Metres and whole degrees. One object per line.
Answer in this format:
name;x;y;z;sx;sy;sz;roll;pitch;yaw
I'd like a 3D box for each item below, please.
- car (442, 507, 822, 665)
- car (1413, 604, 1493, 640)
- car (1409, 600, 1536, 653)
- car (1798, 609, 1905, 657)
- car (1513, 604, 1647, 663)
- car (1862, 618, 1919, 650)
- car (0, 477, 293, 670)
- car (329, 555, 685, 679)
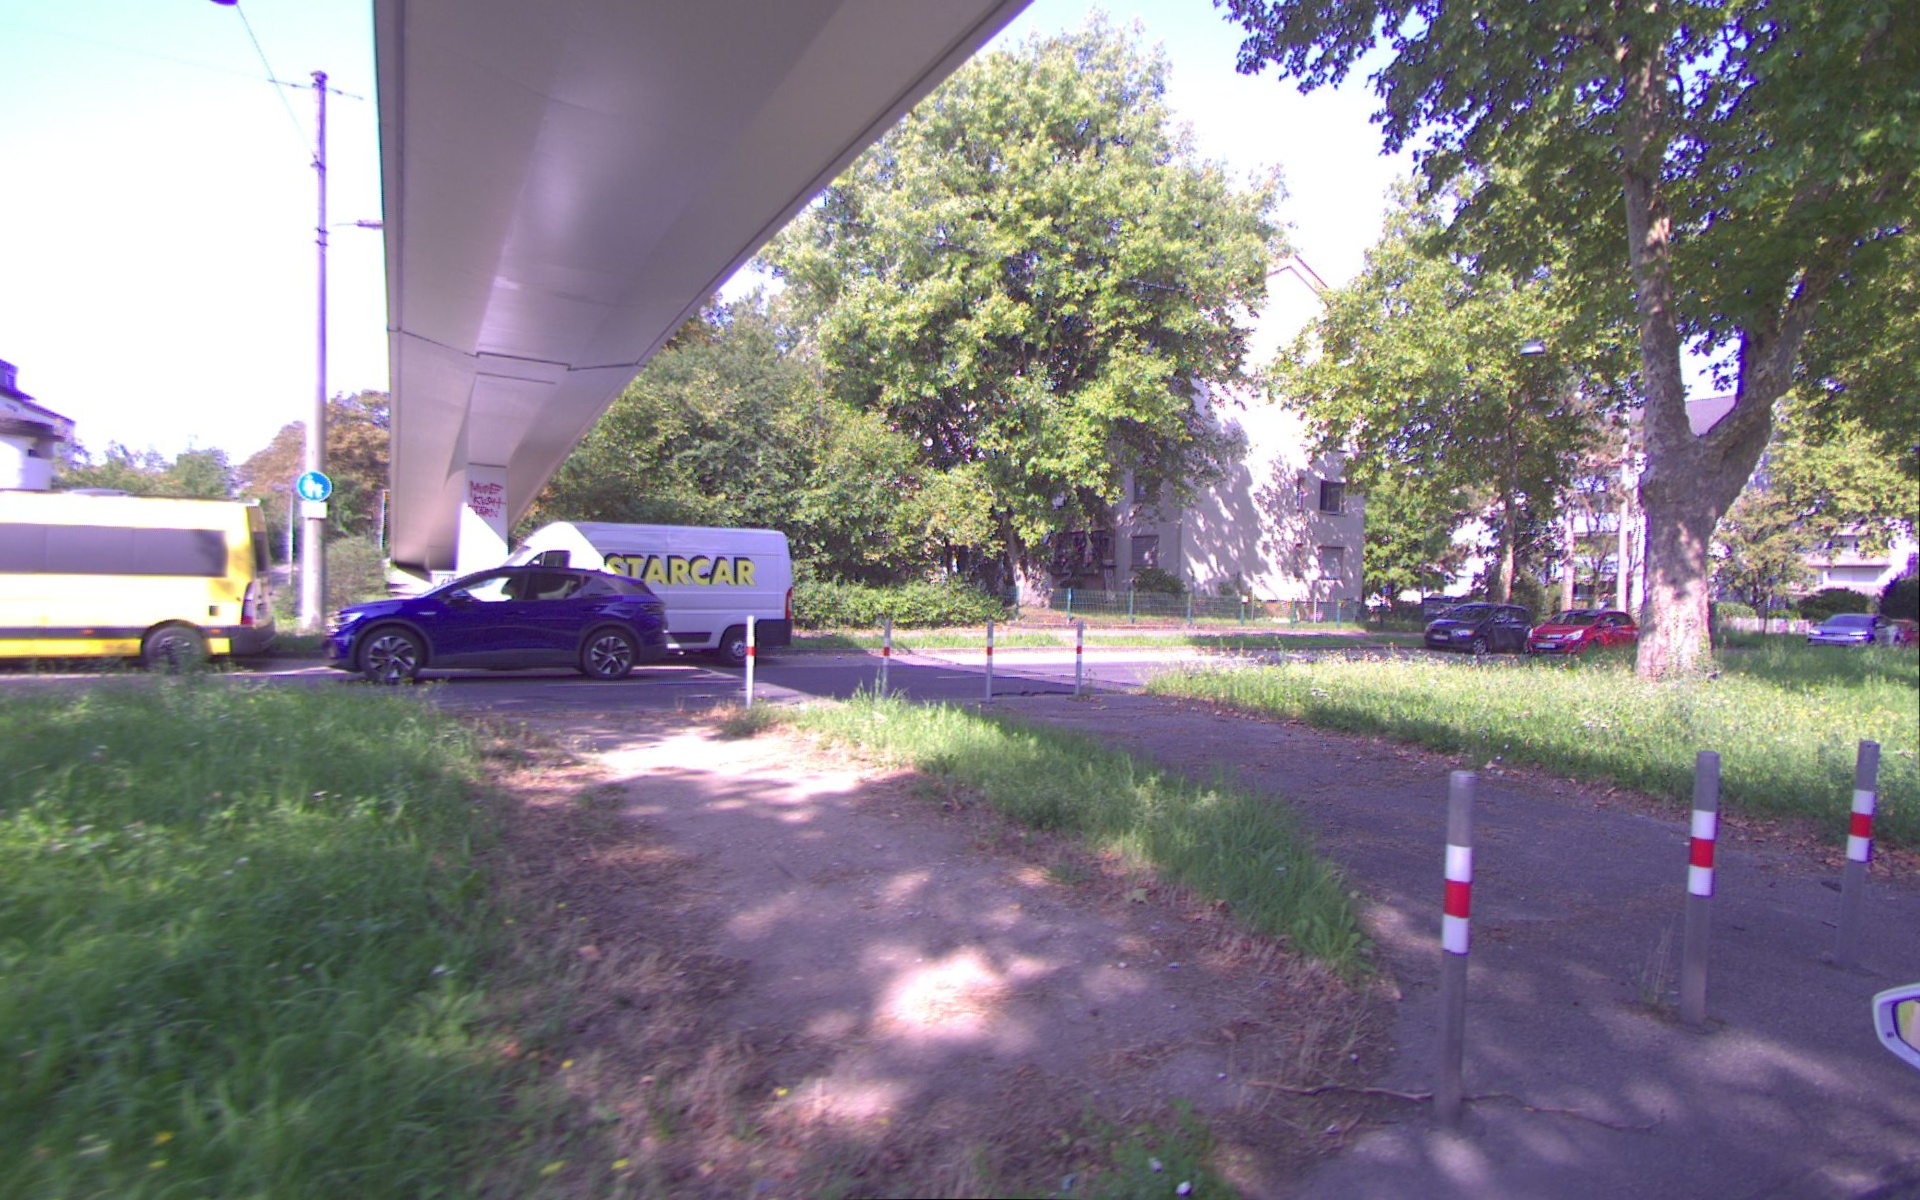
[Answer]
car;-5.858;-0.194;18.195;6.188;2.463;2.198;2;3;-29
car;28.313;1.231;57.834;3.923;1.795;1.999;3;1;23
car;15.923;0.825;31.170;3.813;1.553;1.517;1;0;-26
car;34.710;1.265;39.082;4.666;1.743;1.793;1;0;-31
car;17.955;0.961;29.039;4.025;1.553;1.681;2;1;-32
car;47.010;1.729;50.333;4.018;1.471;1.530;2;1;-31
car;-13.113;-0.378;14.063;5.984;2.512;2.199;2;1;-28
car;-6.420;0.259;14.473;4.404;1.553;1.778;2;1;-31
